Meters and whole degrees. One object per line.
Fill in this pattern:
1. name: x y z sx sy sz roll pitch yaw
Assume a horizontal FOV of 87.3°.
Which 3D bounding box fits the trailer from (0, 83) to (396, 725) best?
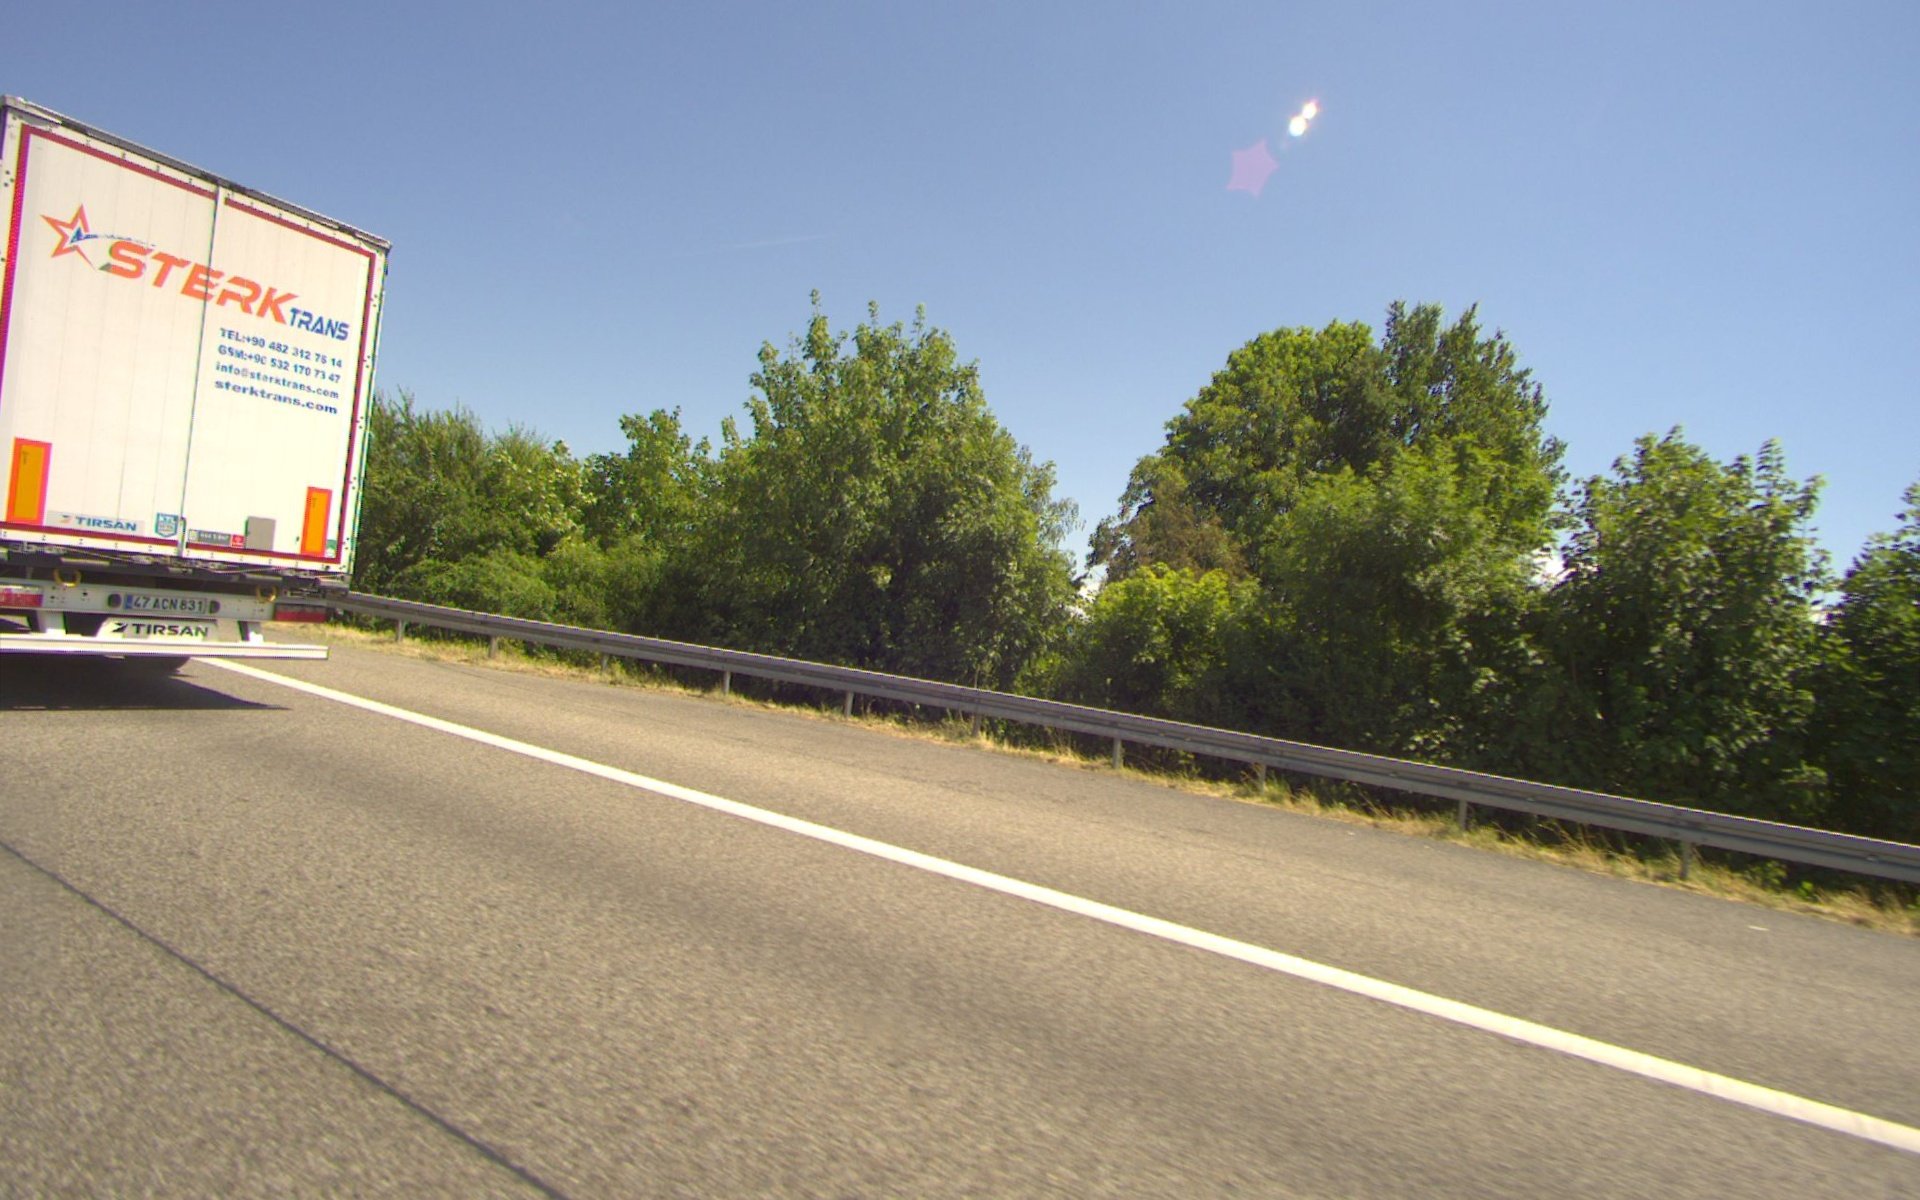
1. trailer: -11.661 -1.804 11.115 13.916 4.136 2.712 6 -1 32
